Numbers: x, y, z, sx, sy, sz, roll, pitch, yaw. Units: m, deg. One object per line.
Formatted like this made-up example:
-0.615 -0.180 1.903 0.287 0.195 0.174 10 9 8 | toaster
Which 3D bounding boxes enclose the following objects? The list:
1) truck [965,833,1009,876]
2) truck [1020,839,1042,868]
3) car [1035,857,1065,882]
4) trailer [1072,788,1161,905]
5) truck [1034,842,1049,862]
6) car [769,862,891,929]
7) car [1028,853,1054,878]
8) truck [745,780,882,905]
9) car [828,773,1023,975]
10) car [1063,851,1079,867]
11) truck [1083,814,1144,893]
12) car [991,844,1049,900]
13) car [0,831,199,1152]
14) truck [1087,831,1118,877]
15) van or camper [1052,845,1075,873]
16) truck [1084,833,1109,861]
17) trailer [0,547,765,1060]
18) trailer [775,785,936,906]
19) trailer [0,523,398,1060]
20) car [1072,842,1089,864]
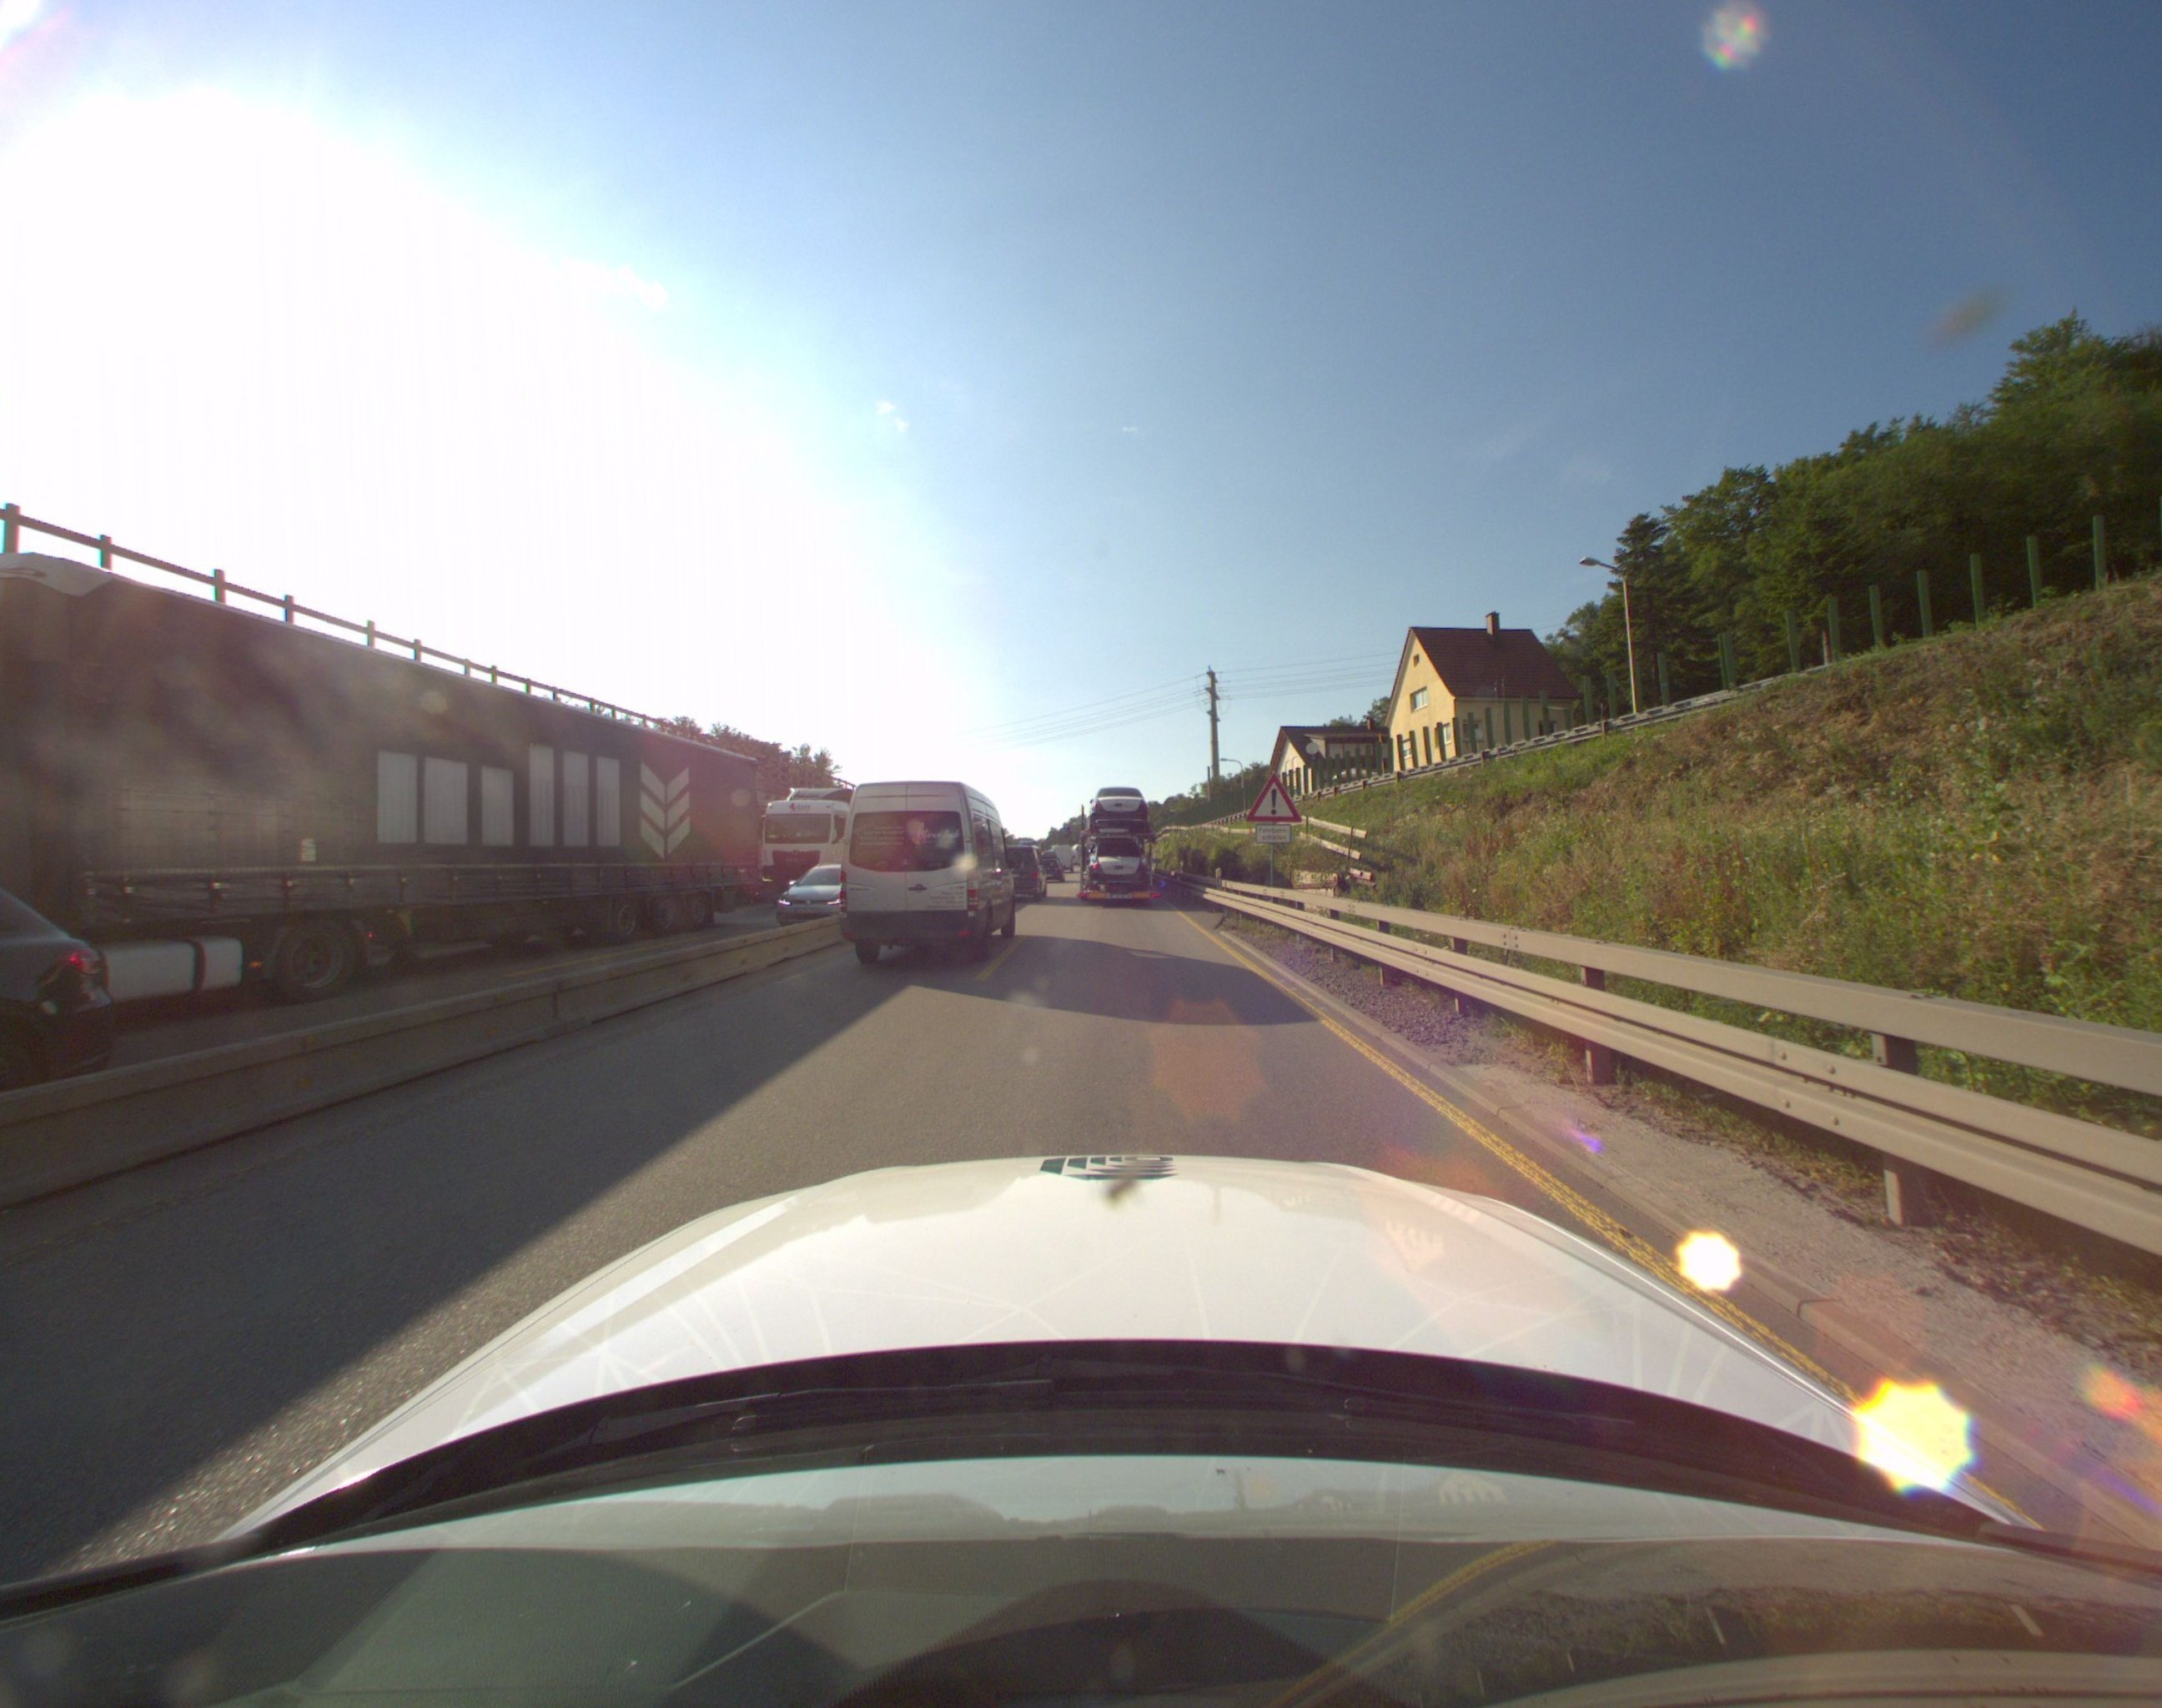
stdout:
-8.201 0.139 71.953 2.706 3.424 8.140 -4 -1 1 | truck
-7.603 -0.112 124.582 2.616 4.112 9.625 -4 0 0 | truck
-1.960 0.997 52.561 1.720 1.522 3.973 0 0 0 | car
1.320 -0.110 32.361 2.672 3.535 15.293 -1 -1 2 | trailer
-8.509 -0.338 177.375 2.975 4.153 15.842 -1 0 -2 | truck
-6.010 0.948 20.072 1.636 1.459 4.593 0 -1 -1 | car
-4.216 1.221 86.005 2.463 2.534 4.000 -1 -1 1 | car
-9.270 -0.324 28.950 2.850 4.008 5.658 0 -1 1 | truck
-2.286 0.273 13.693 1.986 2.648 5.532 -2 0 2 | car
-1.322 0.710 108.080 1.879 2.100 3.766 -1 0 1 | car
1.554 0.031 39.927 2.672 3.535 7.196 -1 -1 2 | truck
-2.181 0.671 30.062 1.802 1.904 3.999 0 -1 0 | car
-6.390 0.680 2.743 1.635 1.645 4.689 0 -1 1 | car
2.215 0.018 87.942 2.899 4.606 7.281 -1 0 -1 | truck
-1.657 0.481 78.629 1.961 2.592 5.043 0 -1 2 | van or camper
2.822 -1.195 142.807 4.049 4.679 10.598 -1 0 3 | truck
-9.543 -0.423 13.602 2.754 4.141 14.029 0 0 1 | trailer
-9.148 -0.176 35.490 2.903 4.240 13.769 0 -1 1 | trailer
-9.705 -0.477 6.856 2.755 4.141 5.978 0 0 1 | trailer
-0.203 -0.240 191.093 3.437 5.035 9.643 -1 0 -3 | car
